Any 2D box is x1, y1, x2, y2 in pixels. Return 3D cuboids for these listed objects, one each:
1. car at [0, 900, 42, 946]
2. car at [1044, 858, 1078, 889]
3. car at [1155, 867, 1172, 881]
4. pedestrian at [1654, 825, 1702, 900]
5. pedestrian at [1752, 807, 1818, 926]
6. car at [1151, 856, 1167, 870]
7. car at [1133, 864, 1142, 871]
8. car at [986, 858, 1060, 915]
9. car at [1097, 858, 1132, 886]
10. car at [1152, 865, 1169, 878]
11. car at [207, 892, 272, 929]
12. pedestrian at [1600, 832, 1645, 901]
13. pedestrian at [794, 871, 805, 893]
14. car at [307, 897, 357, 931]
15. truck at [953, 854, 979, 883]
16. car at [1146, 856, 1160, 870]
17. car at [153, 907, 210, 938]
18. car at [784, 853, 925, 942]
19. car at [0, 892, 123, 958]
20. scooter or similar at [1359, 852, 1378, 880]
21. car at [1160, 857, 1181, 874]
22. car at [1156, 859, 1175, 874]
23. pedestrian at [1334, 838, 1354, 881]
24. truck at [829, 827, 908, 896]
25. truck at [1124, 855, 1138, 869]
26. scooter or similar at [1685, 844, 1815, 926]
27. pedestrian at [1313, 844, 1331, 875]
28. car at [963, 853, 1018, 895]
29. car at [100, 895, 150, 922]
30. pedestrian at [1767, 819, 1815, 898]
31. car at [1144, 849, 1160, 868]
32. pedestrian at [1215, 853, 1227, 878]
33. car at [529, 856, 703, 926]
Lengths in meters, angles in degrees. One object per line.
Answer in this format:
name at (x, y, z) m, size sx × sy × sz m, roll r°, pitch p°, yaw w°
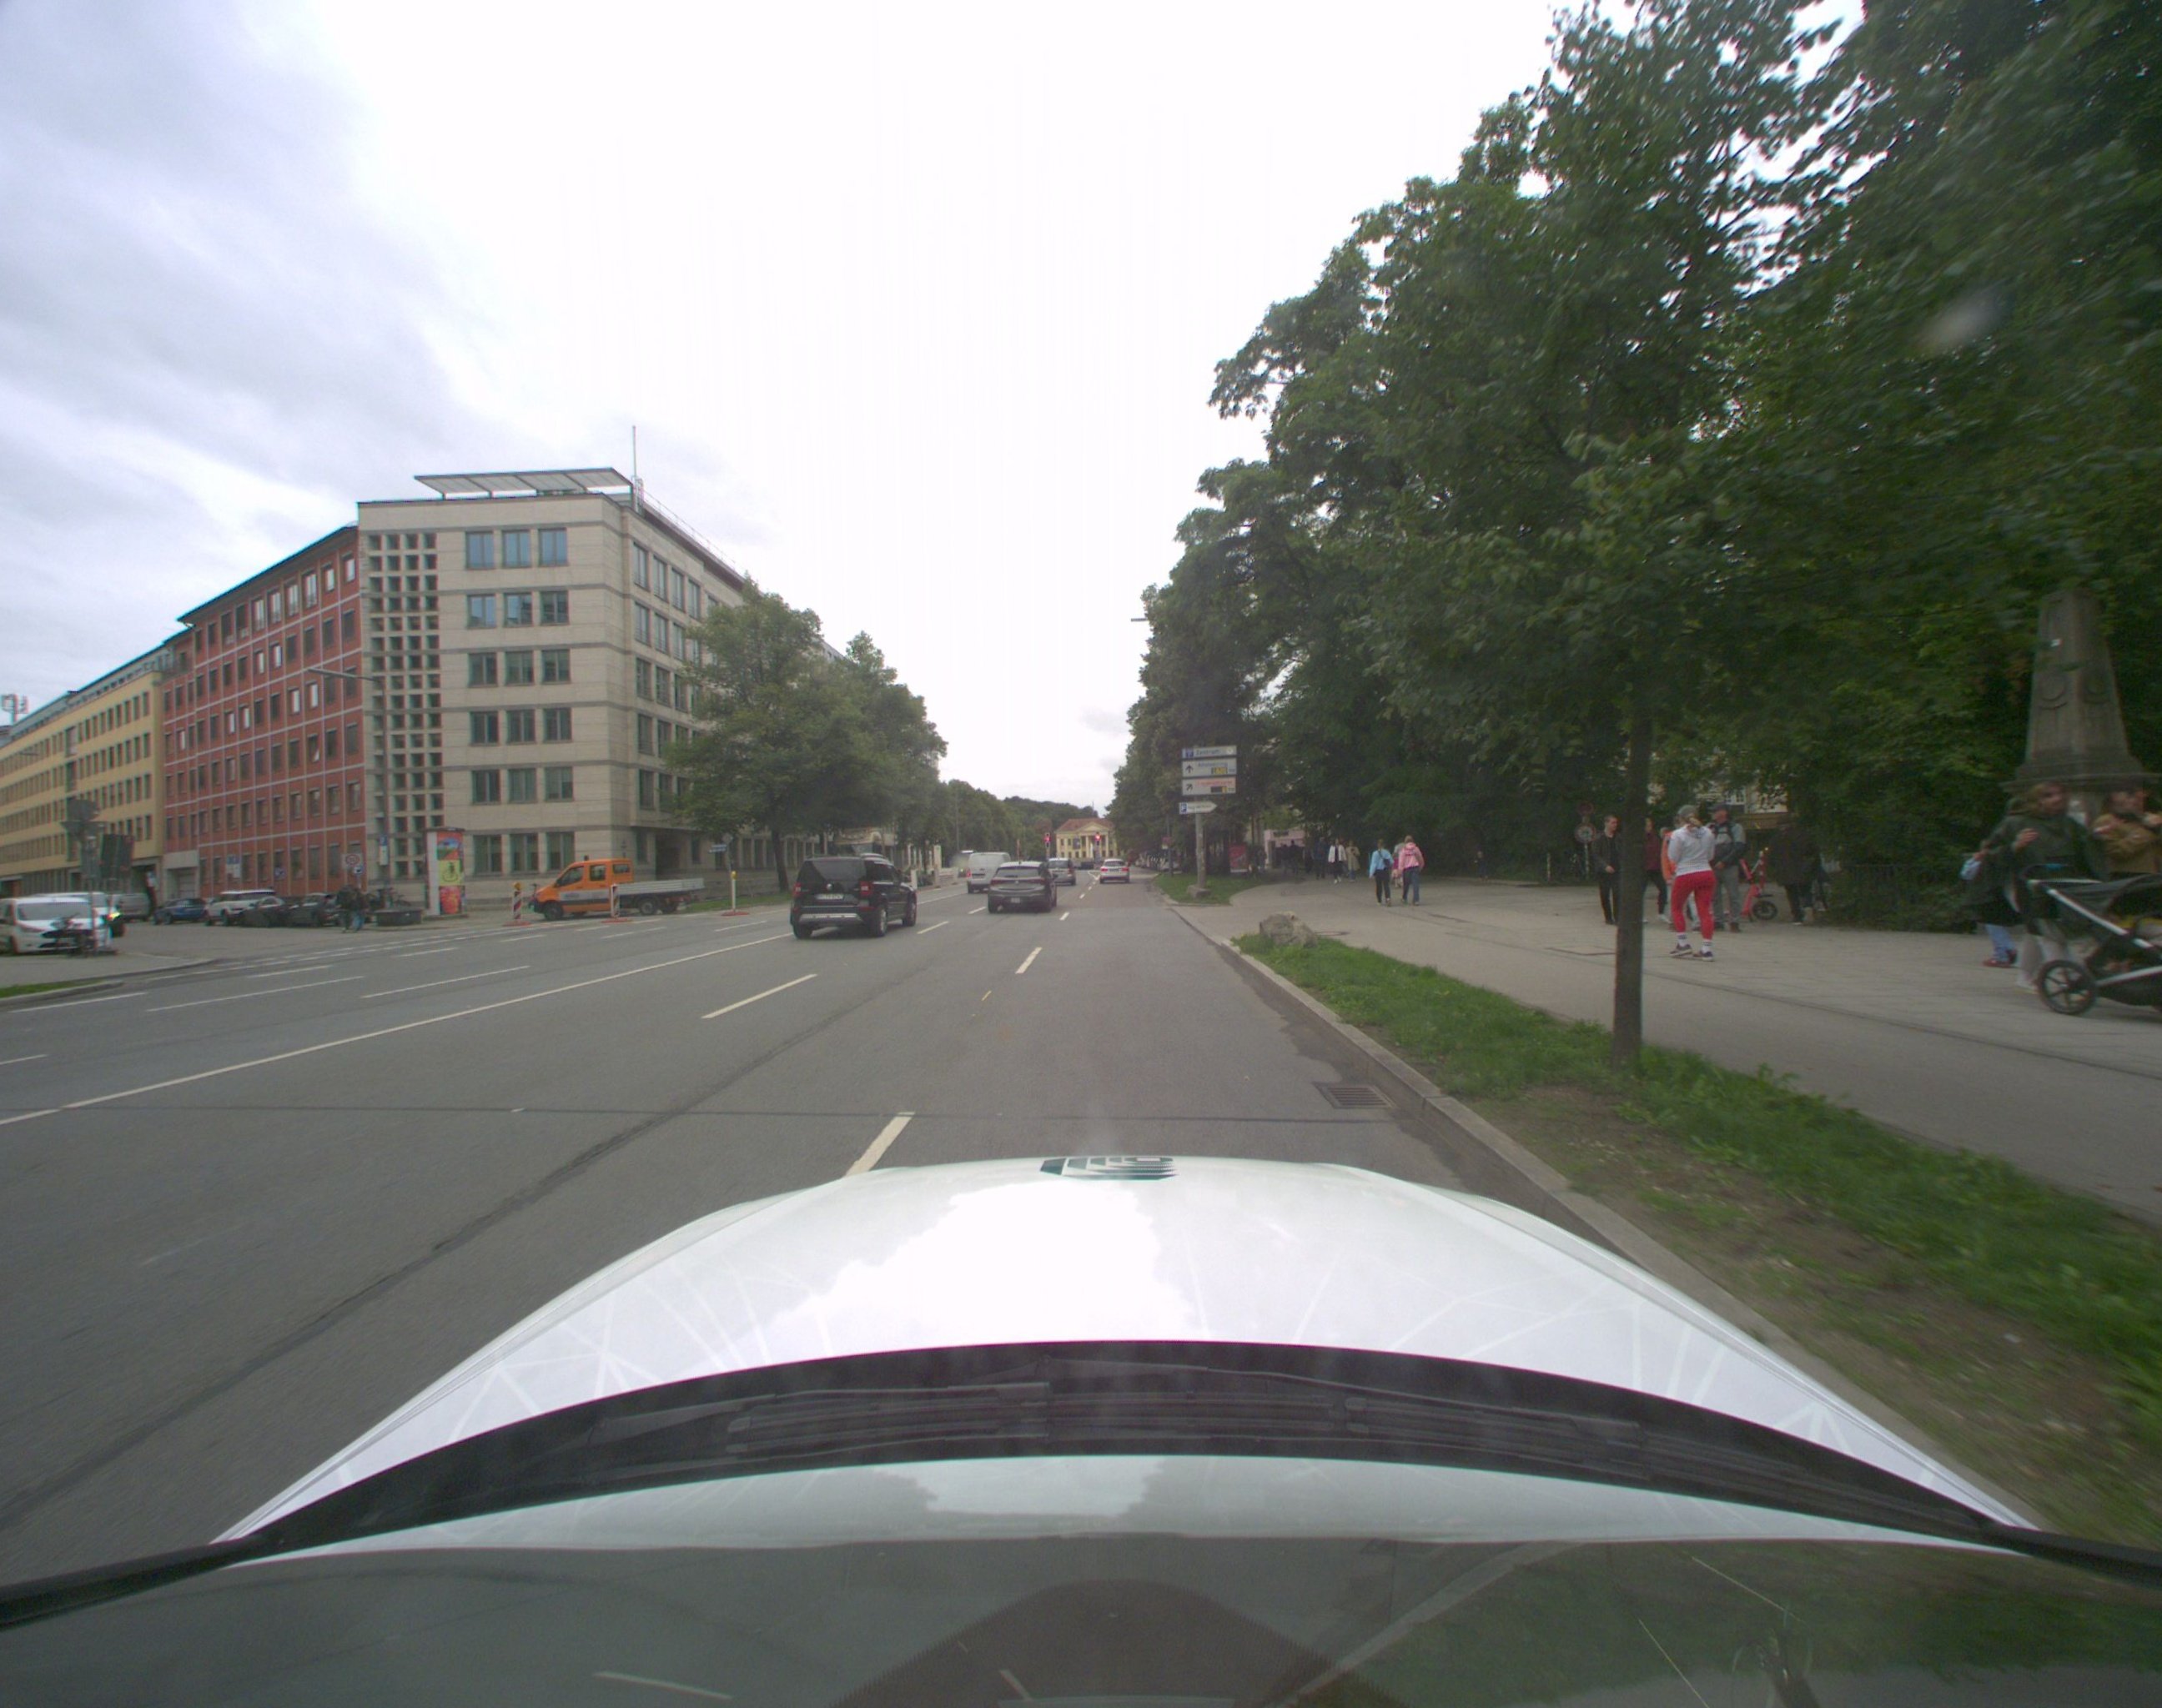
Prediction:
car at (-38.024, 2.420, 28.488) m, size 3.914 × 1.497 × 1.498 m, roll -3°, pitch -1°, yaw 30°
car at (-1.125, 1.113, 47.360) m, size 1.772 × 1.654 × 4.001 m, roll -1°, pitch -1°, yaw 2°
car at (9.431, 2.276, 93.582) m, size 1.717 × 1.465 × 4.779 m, roll -3°, pitch -1°, yaw 3°
pedestrian at (13.310, 0.189, 18.159) m, size 0.695 × 1.651 × 0.605 m, roll 0°, pitch -1°, yaw -31°
pedestrian at (11.522, 0.203, 13.336) m, size 0.695 × 1.873 × 0.605 m, roll 0°, pitch -1°, yaw -33°
car at (9.985, 1.111, 104.327) m, size 1.717 × 1.665 × 4.593 m, roll -3°, pitch -1°, yaw 3°
car at (11.499, 2.845, 166.626) m, size 1.717 × 1.324 × 4.030 m, roll -3°, pitch -1°, yaw 3°
car at (-1.656, 0.917, 24.442) m, size 1.703 × 1.552 × 4.002 m, roll -1°, pitch -1°, yaw 3°
car at (1.995, 1.069, 49.569) m, size 1.775 × 1.645 × 3.995 m, roll -1°, pitch -1°, yaw -3°
car at (9.605, 2.165, 99.048) m, size 1.815 × 1.465 × 4.030 m, roll -3°, pitch -1°, yaw 3°
car at (-42.035, 2.814, 40.662) m, size 3.143 × 1.664 × 1.498 m, roll -3°, pitch -1°, yaw 30°
pedestrian at (12.650, 0.298, 19.028) m, size 0.695 × 1.578 × 0.605 m, roll 0°, pitch -1°, yaw -33°
pedestrian at (-22.161, 2.221, 64.166) m, size 0.576 × 1.732 × 0.764 m, roll -1°, pitch -1°, yaw 2°
car at (-33.069, 2.612, 36.005) m, size 1.479 × 1.375 × 3.200 m, roll -1°, pitch -1°, yaw -40°
truck at (-14.195, 1.762, 101.249) m, size 2.837 × 3.357 × 8.745 m, roll -1°, pitch -1°, yaw -6°
car at (9.928, 1.231, 112.634) m, size 1.717 × 1.867 × 4.030 m, roll -3°, pitch -1°, yaw 3°
car at (-50.923, 3.867, 46.075) m, size 3.143 × 1.591 × 1.498 m, roll -3°, pitch -1°, yaw 30°
car at (-4.731, 0.870, 17.649) m, size 1.716 × 1.637 × 4.206 m, roll -2°, pitch -1°, yaw 2°
car at (-31.131, 2.122, 24.734) m, size 4.273 × 1.750 × 1.882 m, roll -3°, pitch -1°, yaw 30°
scooter or similar at (12.366, 0.505, 35.057) m, size 0.416 × 1.199 × 1.219 m, roll -1°, pitch -1°, yaw 3°
car at (8.938, 1.189, 81.705) m, size 1.820 × 1.550 × 4.755 m, roll -3°, pitch -1°, yaw 3°
car at (8.994, 1.341, 86.912) m, size 1.717 × 1.550 × 4.588 m, roll -3°, pitch -1°, yaw 3°
pedestrian at (11.372, 0.235, 35.196) m, size 0.585 × 1.822 × 0.850 m, roll -1°, pitch -1°, yaw 3°
truck at (-12.523, 0.472, 48.643) m, size 2.908 × 3.775 × 7.659 m, roll -1°, pitch -1°, yaw -2°
truck at (12.577, 2.132, 203.855) m, size 3.312 × 3.367 × 8.667 m, roll -1°, pitch -1°, yaw 2°
scooter or similar at (10.649, 0.491, 13.023) m, size 1.547 × 1.256 × 0.350 m, roll -1°, pitch -1°, yaw 33°
pedestrian at (12.778, 0.300, 43.201) m, size 0.681 × 1.637 × 0.661 m, roll -1°, pitch -1°, yaw -10°
car at (-4.259, 0.952, 39.092) m, size 1.891 × 1.847 × 4.957 m, roll -2°, pitch -1°, yaw 2°
car at (-60.558, 3.451, 51.580) m, size 3.143 × 1.591 × 1.498 m, roll -3°, pitch -1°, yaw 30°
pedestrian at (15.582, 0.104, 17.878) m, size 0.695 × 1.696 × 0.605 m, roll 0°, pitch -1°, yaw -33°
car at (10.377, 0.676, 119.931) m, size 1.986 × 2.643 × 4.878 m, roll -1°, pitch -1°, yaw 1°
pedestrian at (10.475, 0.862, 60.896) m, size 0.775 × 1.910 × 0.771 m, roll -1°, pitch -1°, yaw 3°
car at (-18.656, 1.450, 32.886) m, size 5.666 × 2.536 × 2.155 m, roll -2°, pitch -1°, yaw -2°
